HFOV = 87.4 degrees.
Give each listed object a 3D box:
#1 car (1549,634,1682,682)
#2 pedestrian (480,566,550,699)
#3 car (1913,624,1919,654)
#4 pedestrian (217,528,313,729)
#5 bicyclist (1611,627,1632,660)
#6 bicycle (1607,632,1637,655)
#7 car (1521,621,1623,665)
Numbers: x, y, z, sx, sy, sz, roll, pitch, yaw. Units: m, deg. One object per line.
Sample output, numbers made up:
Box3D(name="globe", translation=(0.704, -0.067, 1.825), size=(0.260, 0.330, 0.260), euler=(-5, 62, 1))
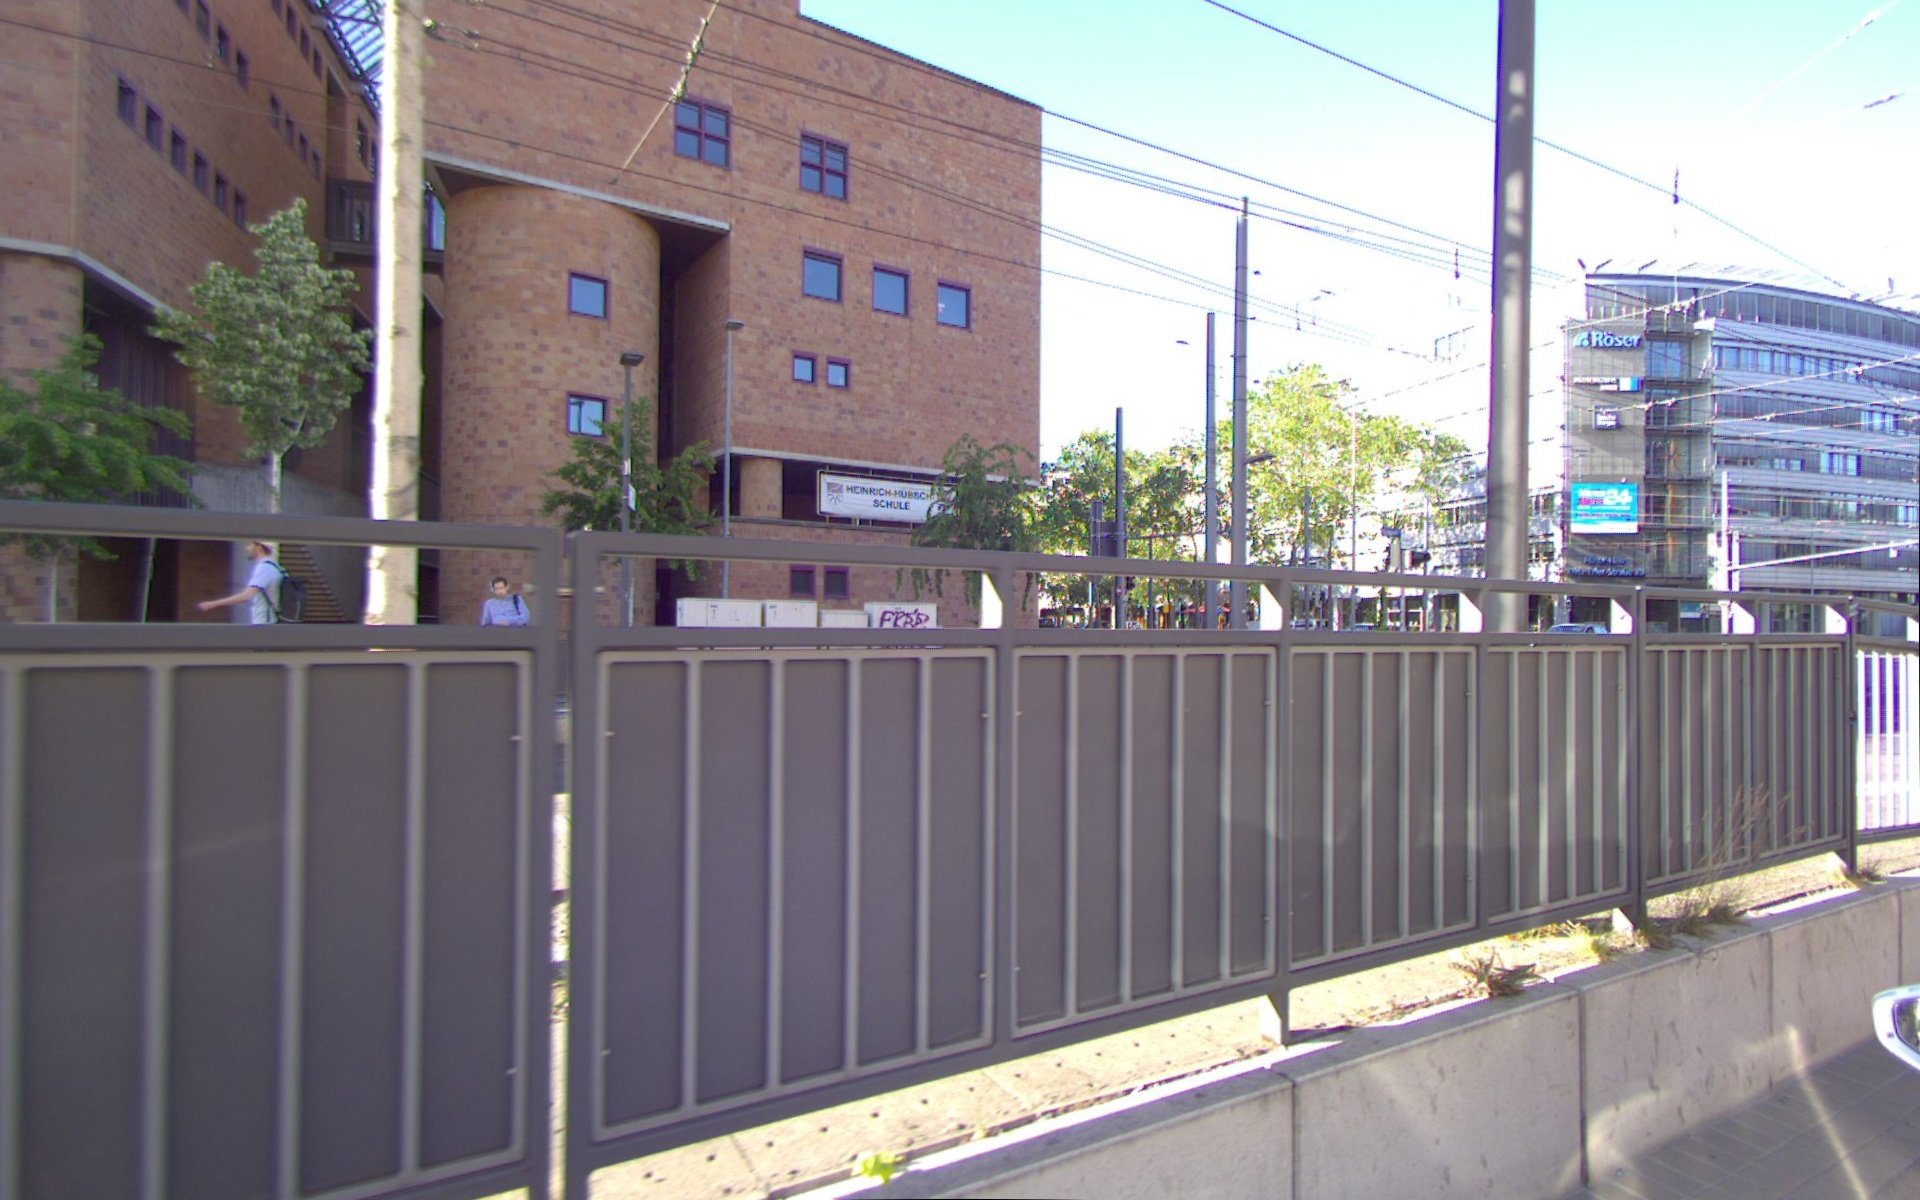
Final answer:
Box3D(name="car", translation=(17.479, 1.519, 26.821), size=(2.841, 1.077, 1.237), euler=(2, 0, 40))
Box3D(name="pedestrian", translation=(-5.734, 0.409, 12.933), size=(0.679, 1.656, 0.662), euler=(2, 0, -34))
Box3D(name="car", translation=(52.832, 2.082, 52.980), size=(4.623, 1.589, 1.823), euler=(1, -2, -20))
Box3D(name="pedestrian", translation=(-6.614, 0.264, 9.588), size=(0.661, 1.831, 0.680), euler=(2, 0, -31))
Box3D(name="bicyclist", translation=(32.303, 2.120, 49.033), size=(0.642, 1.554, 0.584), euler=(2, 0, -30))
Box3D(name="bicycle", translation=(32.305, 2.141, 49.012), size=(1.793, 1.104, 0.458), euler=(2, -3, -30))
Box3D(name="car", translation=(23.714, 1.667, 38.899), size=(4.198, 1.589, 1.814), euler=(2, -2, -34))
